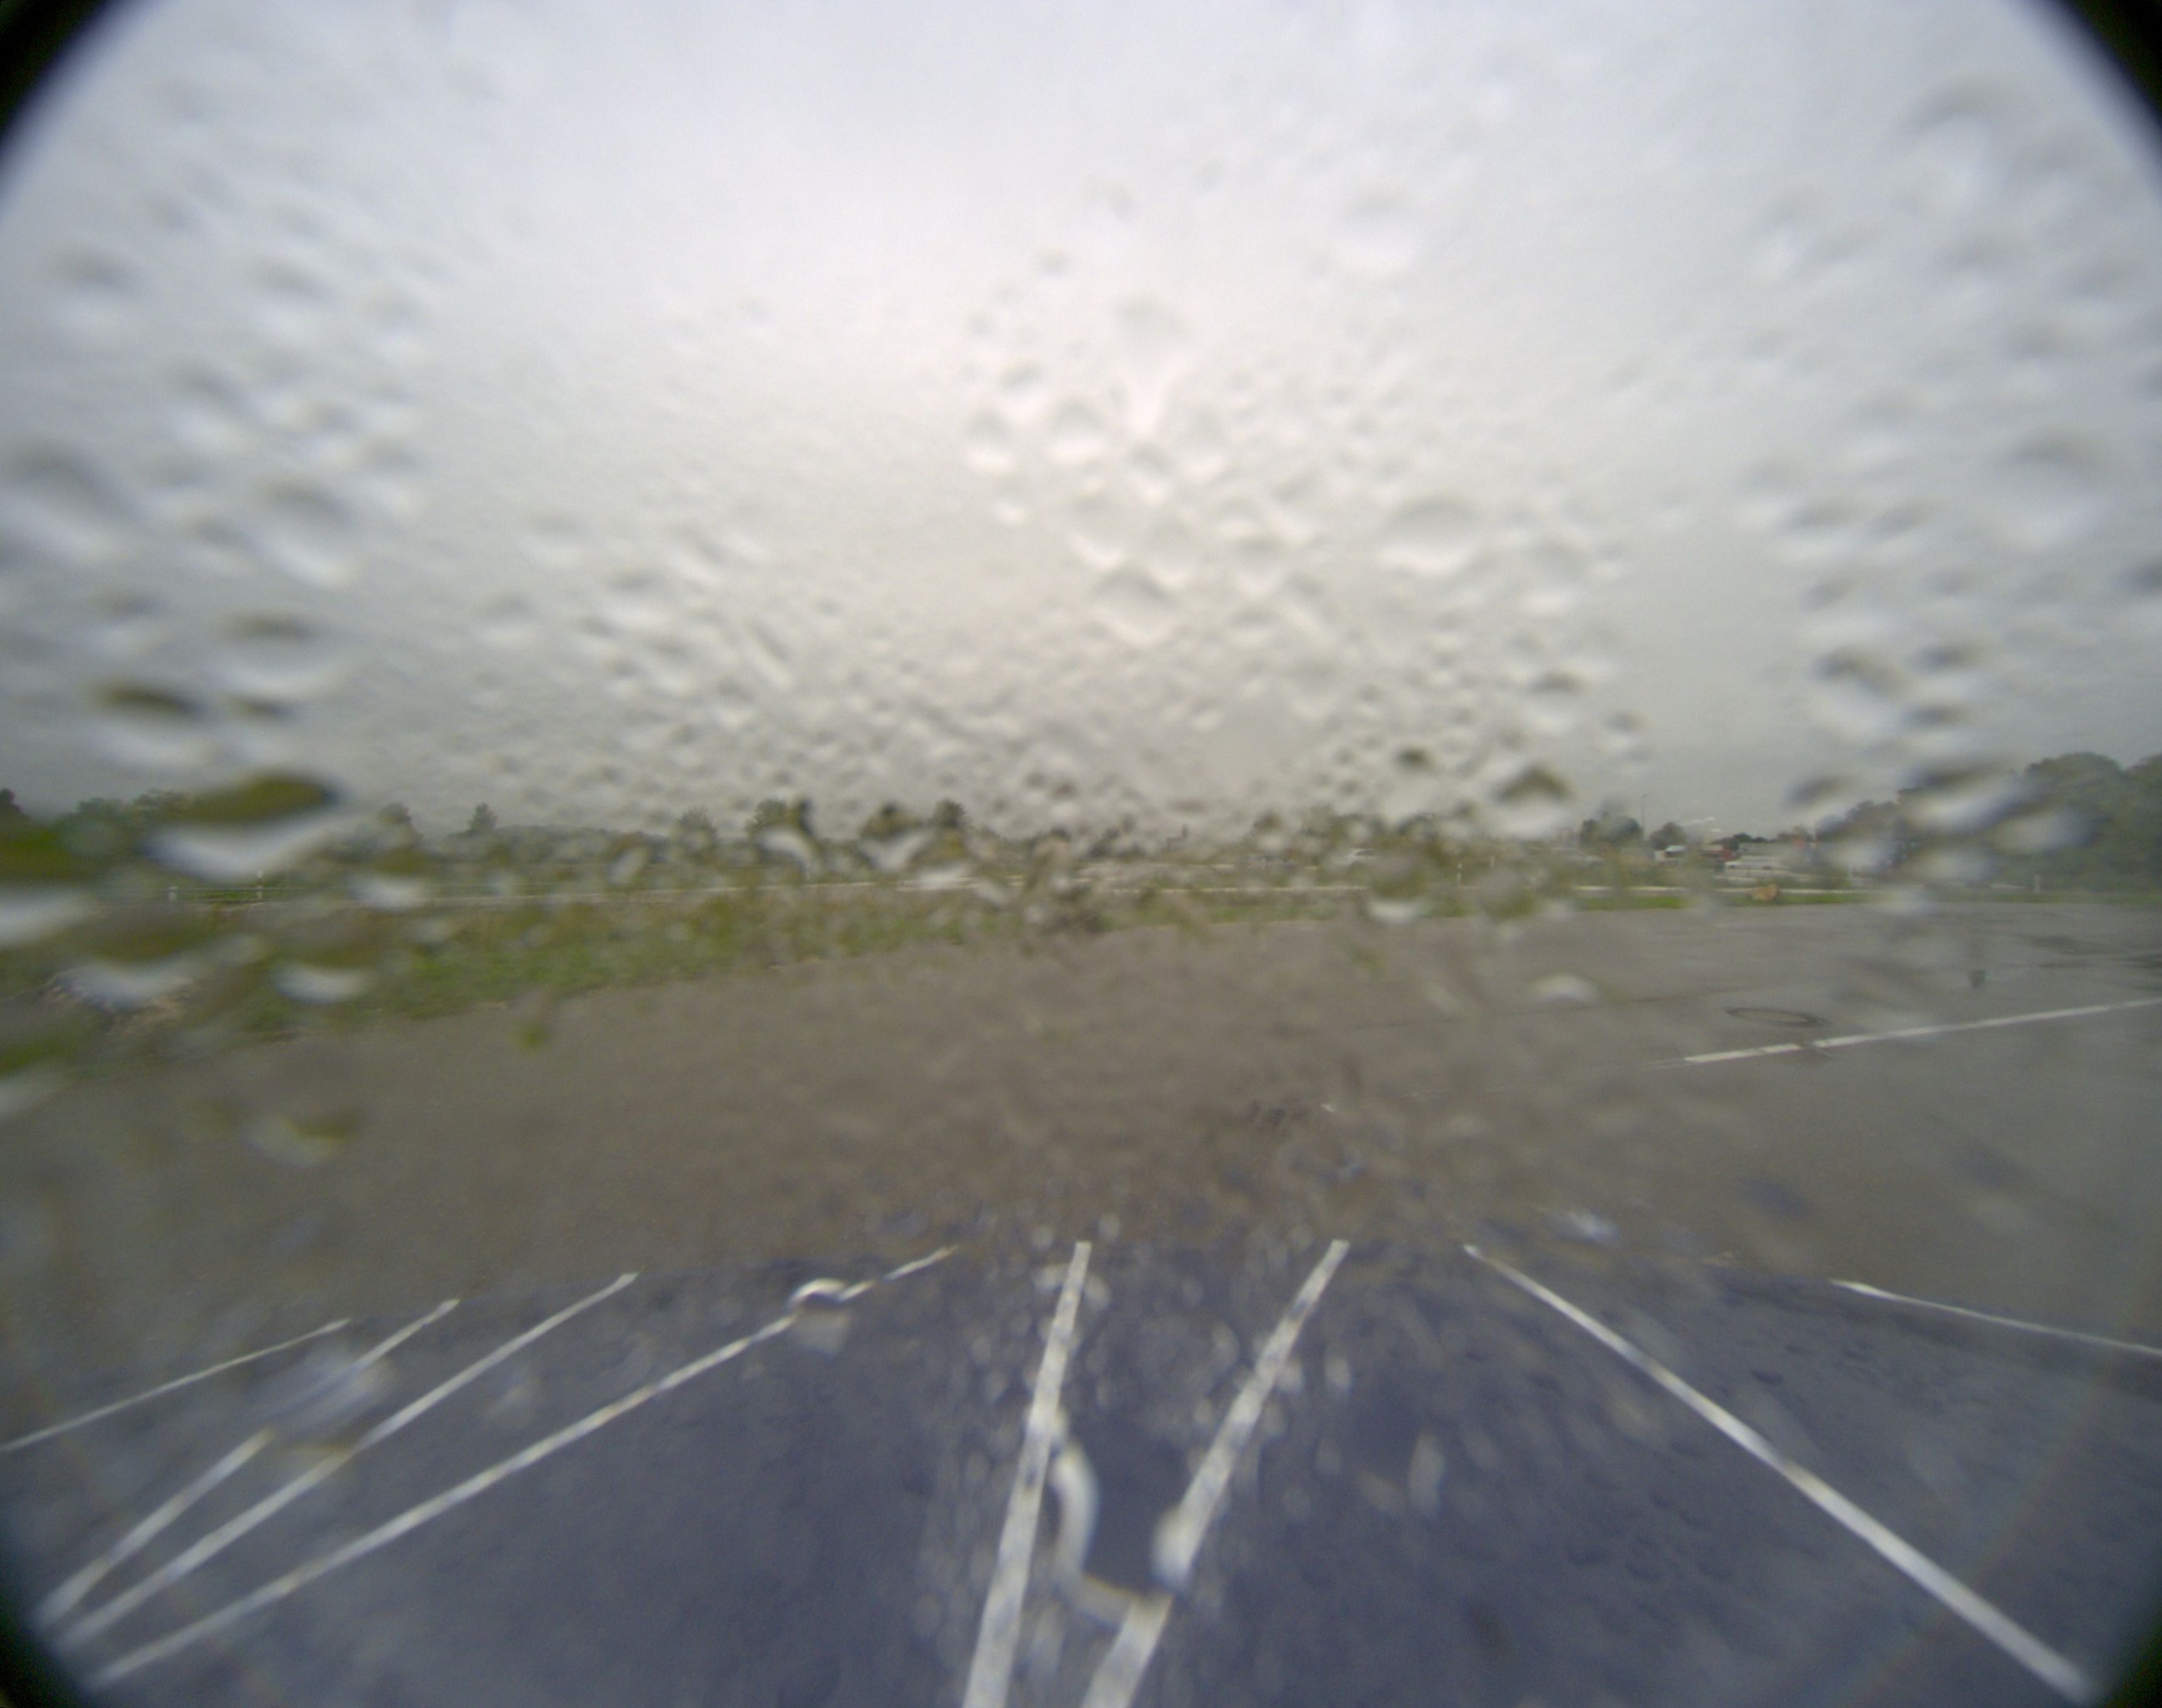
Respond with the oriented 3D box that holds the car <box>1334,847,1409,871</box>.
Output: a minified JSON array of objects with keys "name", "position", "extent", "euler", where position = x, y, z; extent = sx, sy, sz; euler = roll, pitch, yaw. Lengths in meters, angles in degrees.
[{"name":"car","position":[19.381,0.325,50.725],"extent":[4.385,1.575,1.693],"euler":[0,1,-6]}]

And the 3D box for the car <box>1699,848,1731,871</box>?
[{"name":"car","position":[51.756,0.440,61.983],"extent":[1.710,1.805,3.723],"euler":[0,0,45]}]

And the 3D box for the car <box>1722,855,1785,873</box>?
[{"name":"car","position":[65.845,0.968,74.486],"extent":[4.360,1.748,1.750],"euler":[0,0,9]}]

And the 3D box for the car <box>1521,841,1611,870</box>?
[{"name":"car","position":[31.934,0.115,50.114],"extent":[4.640,1.862,2.000],"euler":[0,0,3]}]

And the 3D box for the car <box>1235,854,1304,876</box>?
[{"name":"car","position":[11.919,0.699,48.020],"extent":[4.048,1.318,1.690],"euler":[0,0,-23]}]
